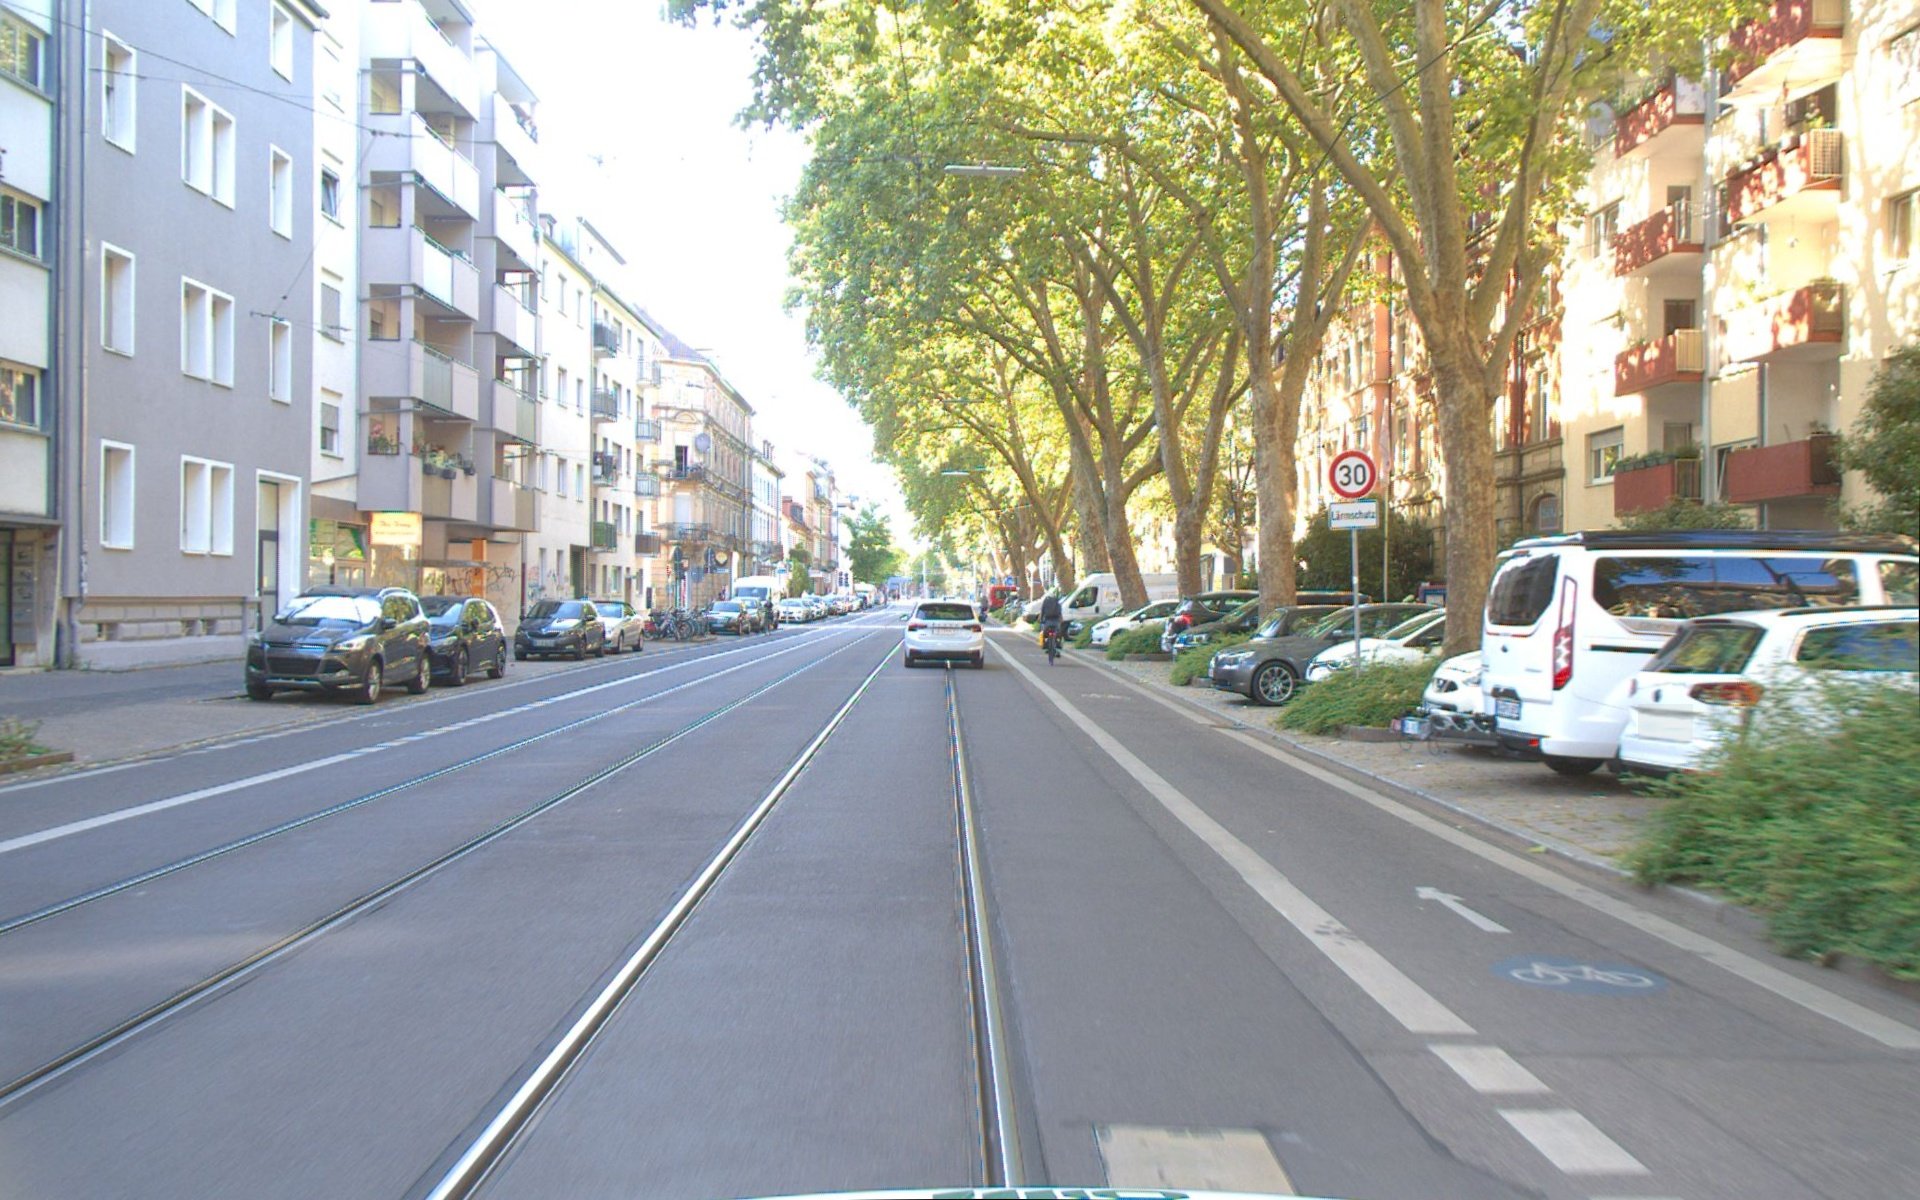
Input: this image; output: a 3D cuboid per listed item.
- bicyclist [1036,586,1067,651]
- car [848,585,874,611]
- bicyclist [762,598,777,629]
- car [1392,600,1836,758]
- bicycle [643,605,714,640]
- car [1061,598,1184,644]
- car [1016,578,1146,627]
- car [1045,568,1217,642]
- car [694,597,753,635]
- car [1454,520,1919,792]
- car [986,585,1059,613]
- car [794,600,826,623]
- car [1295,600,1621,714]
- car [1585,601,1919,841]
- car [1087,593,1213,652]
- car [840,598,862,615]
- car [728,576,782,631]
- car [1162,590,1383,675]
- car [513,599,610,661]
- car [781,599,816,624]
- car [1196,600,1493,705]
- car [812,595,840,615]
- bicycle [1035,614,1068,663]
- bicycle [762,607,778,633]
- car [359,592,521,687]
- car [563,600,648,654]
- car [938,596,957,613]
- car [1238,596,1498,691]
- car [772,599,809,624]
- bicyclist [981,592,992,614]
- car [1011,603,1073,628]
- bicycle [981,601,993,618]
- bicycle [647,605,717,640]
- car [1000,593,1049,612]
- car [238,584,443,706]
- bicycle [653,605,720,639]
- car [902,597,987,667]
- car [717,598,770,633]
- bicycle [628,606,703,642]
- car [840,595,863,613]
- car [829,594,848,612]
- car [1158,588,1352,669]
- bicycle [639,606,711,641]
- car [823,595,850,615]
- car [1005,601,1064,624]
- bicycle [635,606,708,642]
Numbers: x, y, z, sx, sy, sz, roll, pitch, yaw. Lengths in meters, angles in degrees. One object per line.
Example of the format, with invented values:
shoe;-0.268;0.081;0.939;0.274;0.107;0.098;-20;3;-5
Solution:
bicyclist;2.105;0.414;38.189;0.664;1.468;1.047;0;0;0
car;-12.273;-0.218;205.144;2.908;3.211;5.846;1;-1;-1
bicyclist;-8.125;0.561;70.715;0.585;1.308;0.916;0;0;-4
car;6.509;0.750;16.703;3.820;1.505;1.722;0;0;-4
bicycle;-10.417;0.848;61.282;2.476;1.193;0.718;2;-2;-6
car;5.690;0.720;58.135;3.972;1.567;1.997;0;0;-7
car;5.760;0.112;79.591;6.007;2.322;2.528;0;0;-3
car;6.258;0.174;60.992;6.007;2.681;2.528;0;0;-3
car;-10.050;0.669;70.563;1.953;1.557;3.999;0;0;-1
car;6.707;0.436;13.994;4.453;2.113;1.999;0;0;-3
car;5.245;-0.078;139.807;6.007;2.322;2.528;0;0;-3
car;-10.575;0.812;116.569;1.953;1.557;3.999;0;0;-1
car;6.824;0.762;22.954;3.954;1.505;1.923;0;0;-1
car;6.755;0.765;11.416;4.210;1.505;1.830;0;0;-2
car;5.553;0.638;48.712;3.559;1.695;1.822;0;0;1
car;-10.860;0.628;164.430;1.953;1.668;3.999;1;0;-1
car;-10.149;0.166;82.288;2.134;2.642;4.948;0;0;-1
car;6.323;0.643;33.807;4.149;1.695;1.847;0;0;-2
car;-9.900;0.716;41.342;1.620;1.462;3.835;0;0;-2
car;-10.414;0.738;106.837;1.953;1.557;3.999;0;0;-1
car;5.776;0.769;25.188;4.059;1.540;1.930;0;0;-2
car;-10.690;0.404;131.916;1.953;1.557;3.999;0;0;-1
bicycle;2.106;0.869;38.329;0.667;1.089;1.781;0;0;0
bicycle;-8.125;0.855;70.674;0.593;1.089;1.582;0;0;-3
car;-9.617;0.683;30.918;1.668;1.571;4.241;3;0;-1
car;-9.889;0.714;46.381;1.454;1.428;3.991;0;0;1
car;-1.141;0.396;149.042;1.725;1.501;4.000;0;0;0
car;6.751;0.698;27.647;3.906;1.540;1.760;0;0;-2
car;-10.494;0.703;102.608;1.953;1.557;3.999;0;0;-1
bicyclist;1.711;0.195;105.437;0.636;1.367;0.934;0;0;-3
car;5.368;1.016;109.050;3.967;1.567;2.000;0;0;-1
bicycle;1.719;0.619;105.410;0.636;1.089;1.582;0;0;-3
bicycle;-10.432;0.847;62.131;2.476;1.193;0.718;2;-2;-6
car;5.256;0.198;135.113;3.967;1.567;2.000;0;0;-1
car;-9.510;0.637;25.737;1.668;1.679;4.240;3;0;-2
bicycle;-10.440;0.854;63.185;2.477;1.193;0.718;2;-2;-7
car;-0.337;0.653;35.887;1.725;1.408;3.999;0;0;-1
car;-9.973;0.710;76.346;1.953;1.557;3.999;0;0;-1
bicycle;-10.402;0.847;58.525;2.510;1.193;0.870;3;-2;-41
car;-10.411;0.349;159.090;1.953;1.668;3.999;1;0;-1
car;-13.479;0.320;183.667;1.953;2.049;3.999;0;0;-1
car;6.400;0.608;36.115;3.906;1.709;1.723;0;0;-2
bicycle;-10.373;0.850;60.223;2.476;1.193;0.718;2;-2;-6
car;-10.318;0.436;138.613;1.953;1.668;3.999;1;0;-1
car;5.183;0.885;115.597;3.967;1.567;2.000;0;0;-1
bicycle;-10.353;0.852;59.408;2.477;1.193;0.718;2;-2;-7
